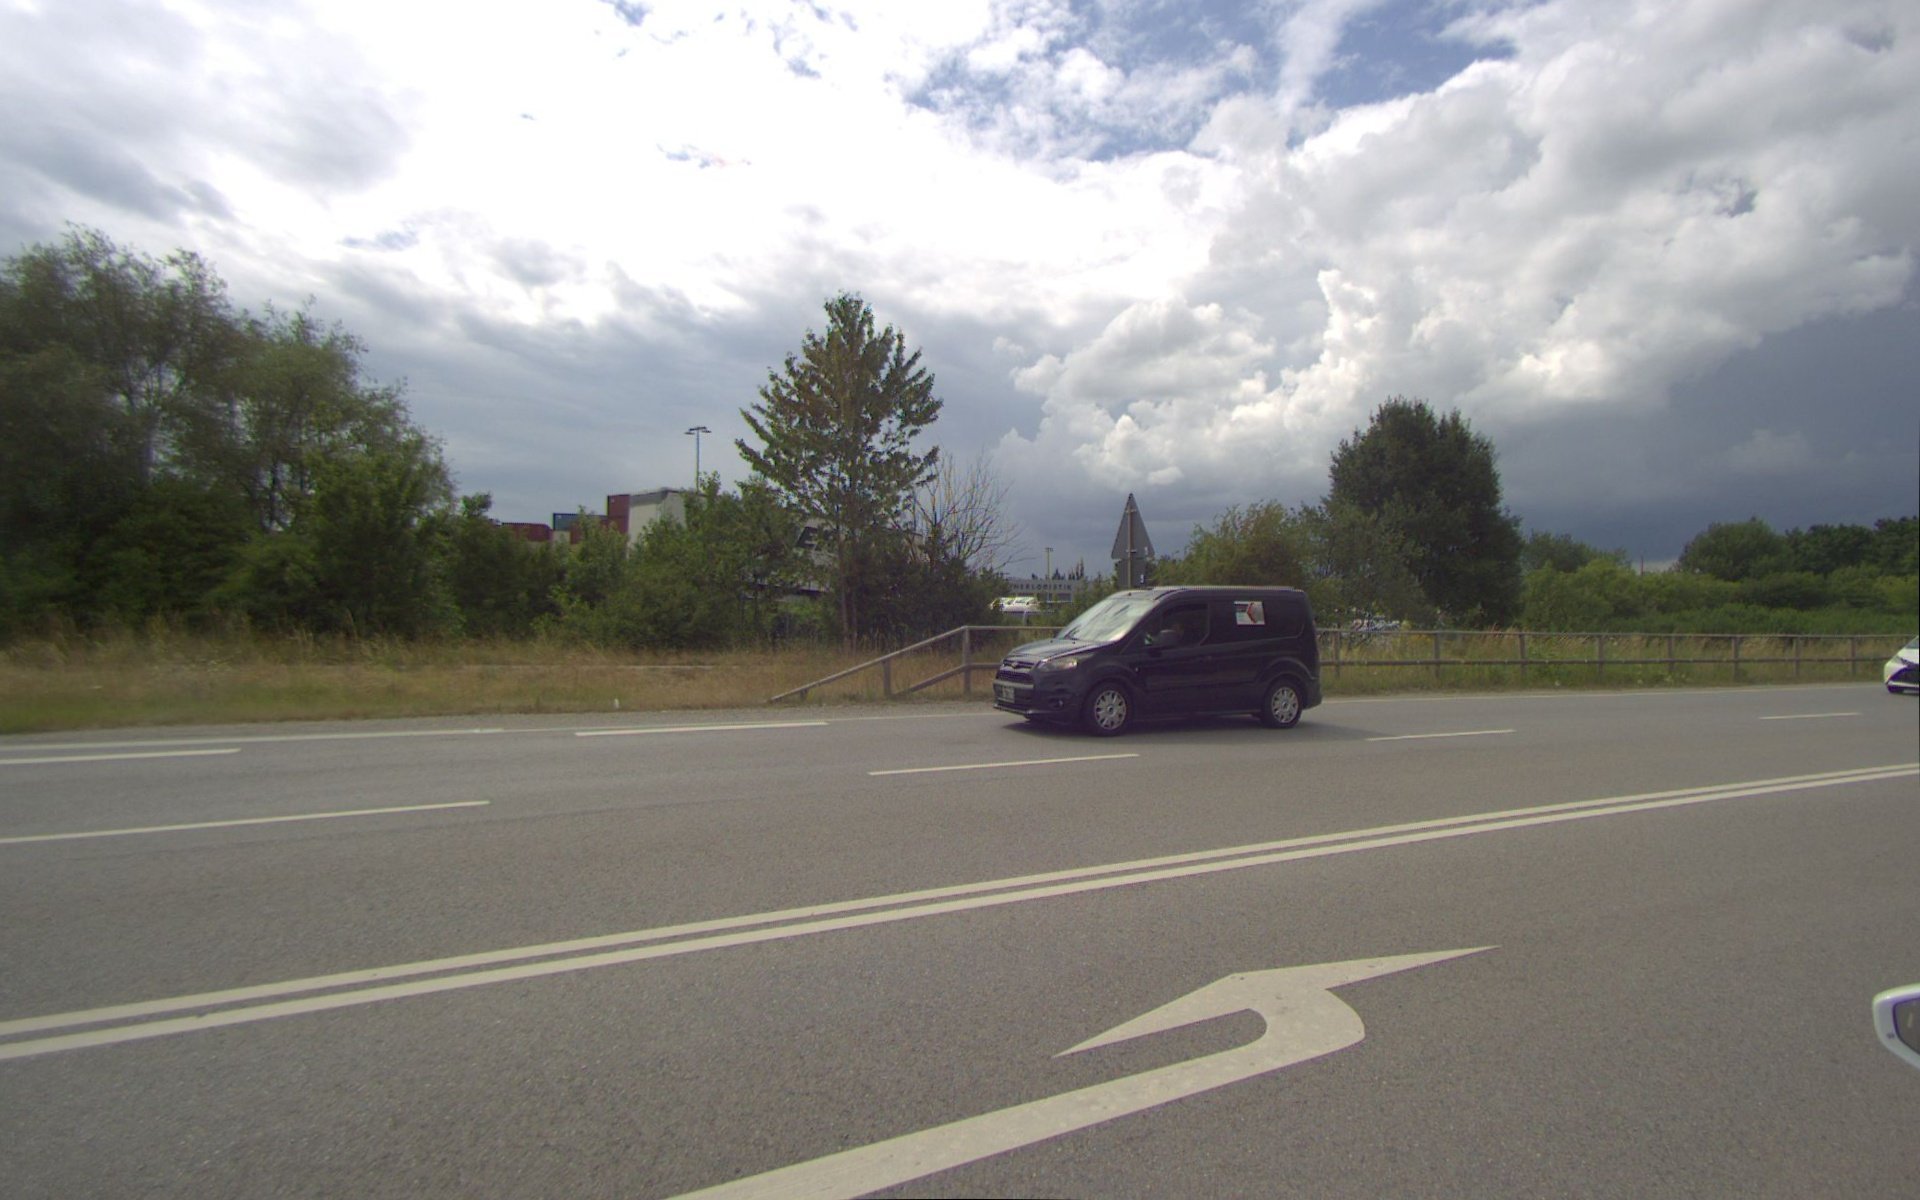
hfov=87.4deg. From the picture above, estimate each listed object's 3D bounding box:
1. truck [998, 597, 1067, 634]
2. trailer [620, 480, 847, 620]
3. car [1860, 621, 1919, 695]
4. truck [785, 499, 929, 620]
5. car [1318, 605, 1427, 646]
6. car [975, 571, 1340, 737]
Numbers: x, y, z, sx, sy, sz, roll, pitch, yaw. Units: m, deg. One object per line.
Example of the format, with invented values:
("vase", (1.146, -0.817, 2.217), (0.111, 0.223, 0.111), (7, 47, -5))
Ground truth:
("truck", (5.700, 1.149, 77.784), (2.607, 2.718, 6.640), (1, 0, 31))
("trailer", (-8.893, -1.768, 40.615), (2.767, 5.063, 8.935), (2, 0, 42))
("car", (21.534, 1.236, 21.712), (3.694, 1.509, 1.870), (1, 0, -26))
("truck", (-4.563, -1.688, 45.443), (2.764, 5.063, 6.156), (2, 0, 42))
("car", (20.204, 1.207, 49.300), (1.985, 1.758, 4.529), (1, 1, -41))
("car", (2.539, 0.618, 12.830), (4.263, 1.821, 1.986), (1, 0, -27))
